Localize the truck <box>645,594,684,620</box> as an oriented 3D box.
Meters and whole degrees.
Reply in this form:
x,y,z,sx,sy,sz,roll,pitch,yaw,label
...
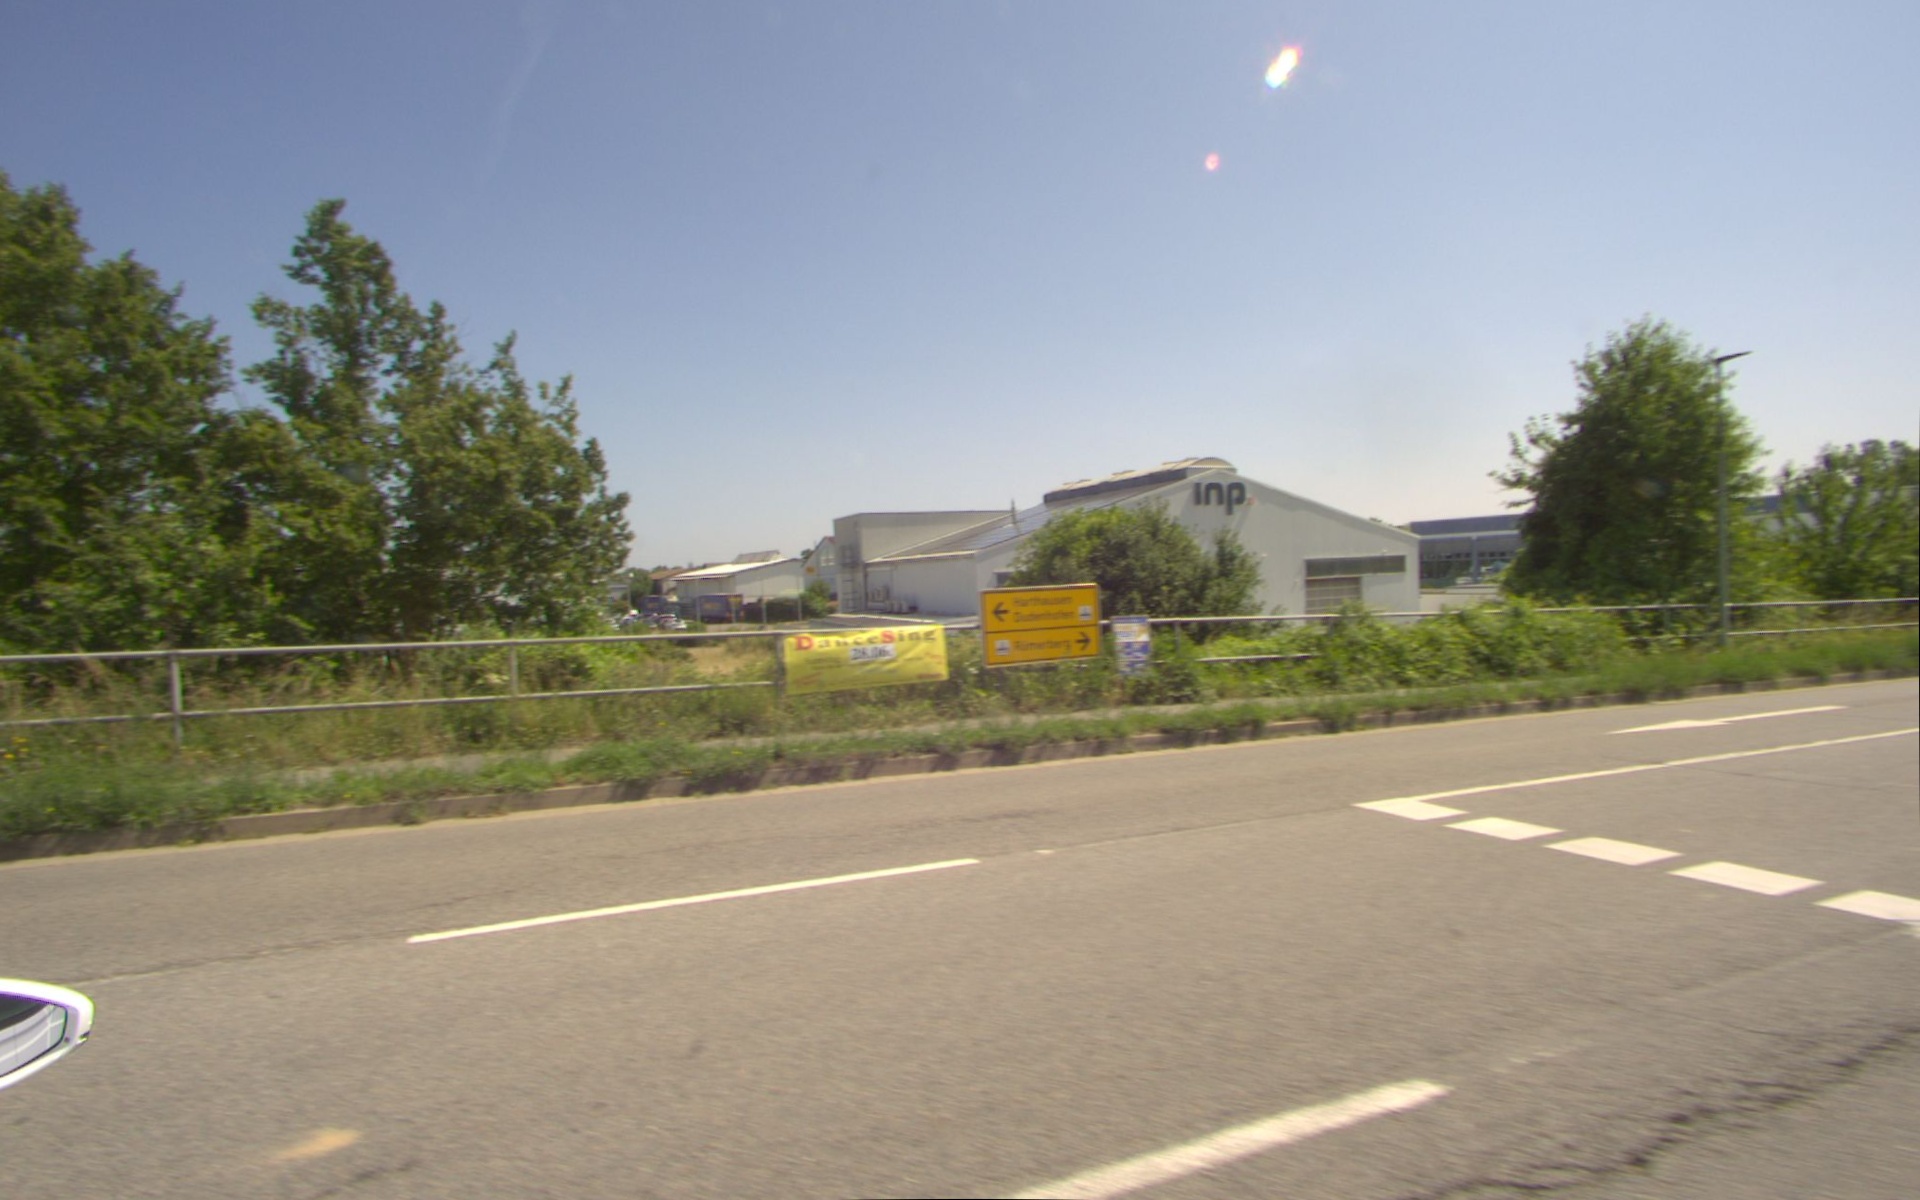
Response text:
x,y,z,sx,sy,sz,roll,pitch,yaw,label
-51.921,1.266,175.460,3.372,4.368,14.521,-2,0,-29,truck

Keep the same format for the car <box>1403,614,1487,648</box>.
x,y,z,sx,sy,sz,roll,pitch,yaw,label
27.921,1.751,57.764,1.703,1.747,4.124,-4,2,-27,car

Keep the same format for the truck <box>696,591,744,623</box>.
x,y,z,sx,sy,sz,roll,pitch,yaw,label
-34.959,1.058,145.351,3.664,4.368,13.280,-2,0,-28,truck

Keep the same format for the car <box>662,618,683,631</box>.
x,y,z,sx,sy,sz,roll,pitch,yaw,label
-36.311,3.096,126.529,1.663,1.382,3.816,-5,2,-29,car
